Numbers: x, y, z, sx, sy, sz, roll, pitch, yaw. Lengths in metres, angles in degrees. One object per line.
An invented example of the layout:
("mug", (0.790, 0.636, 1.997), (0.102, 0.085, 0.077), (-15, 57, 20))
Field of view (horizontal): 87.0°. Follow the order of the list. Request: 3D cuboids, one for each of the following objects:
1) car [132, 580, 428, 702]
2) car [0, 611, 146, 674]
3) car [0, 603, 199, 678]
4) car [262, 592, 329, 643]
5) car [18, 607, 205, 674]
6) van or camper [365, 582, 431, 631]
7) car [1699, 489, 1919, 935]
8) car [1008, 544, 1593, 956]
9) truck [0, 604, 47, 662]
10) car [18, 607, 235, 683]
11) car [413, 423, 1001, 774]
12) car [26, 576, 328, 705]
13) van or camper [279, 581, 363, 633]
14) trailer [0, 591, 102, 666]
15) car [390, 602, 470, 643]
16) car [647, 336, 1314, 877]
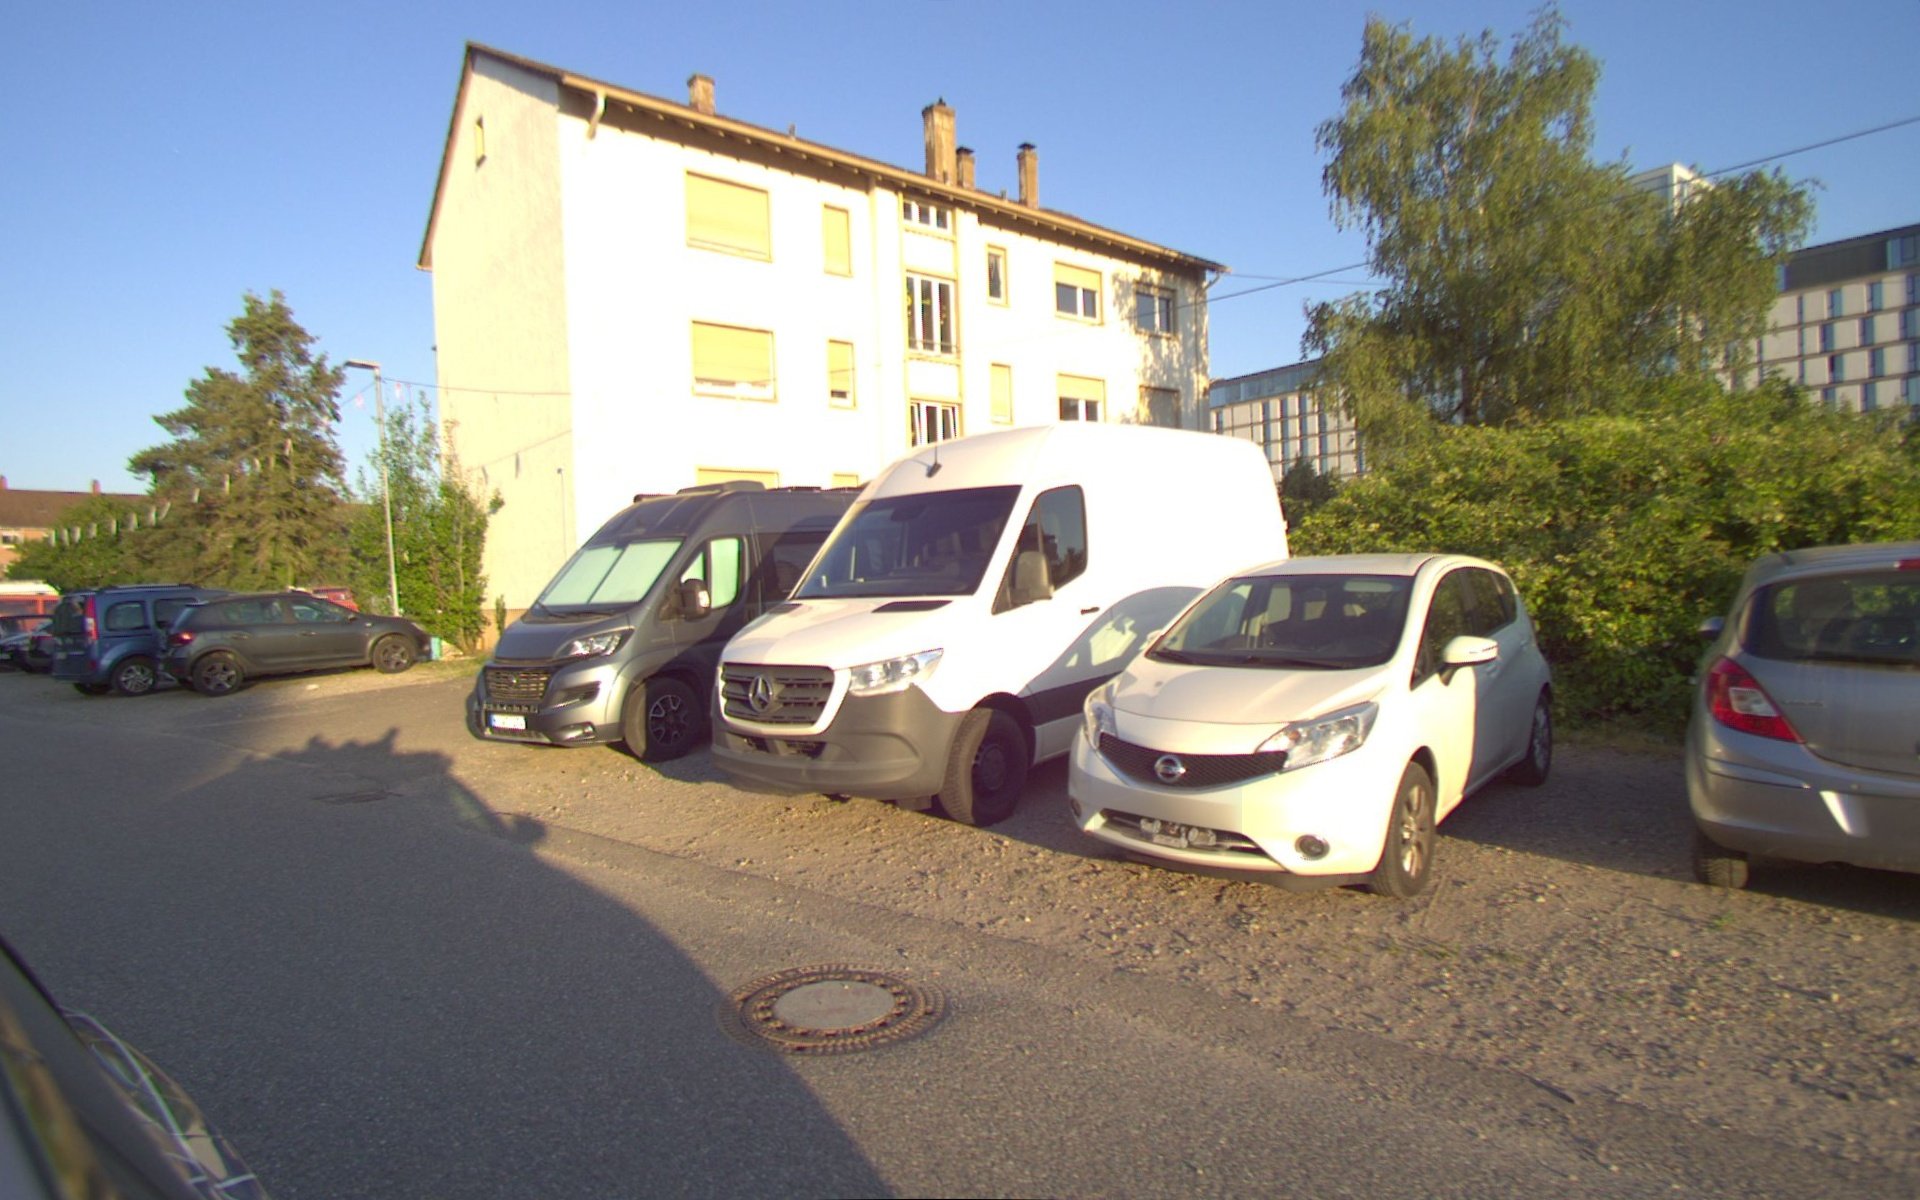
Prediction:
("car", (-11.636, 0.615, 17.506), (1.748, 1.664, 3.883), (-2, 3, 44))
("car", (-26.833, 1.241, 29.991), (1.850, 1.632, 3.991), (-1, 1, 45))
("car", (-22.340, 1.013, 26.030), (1.818, 1.640, 4.051), (-5, -1, 38))
("car", (-31.870, 0.862, 48.461), (1.822, 2.165, 4.826), (-3, -1, -43))
("car", (-24.121, 1.122, 28.865), (1.810, 1.532, 3.882), (-3, 1, 45))
("van or camper", (-33.535, 0.372, 60.272), (2.176, 2.728, 5.755), (-3, 1, -41))
("car", (4.872, 0.320, 4.928), (1.747, 1.602, 3.885), (0, 3, 41))
("car", (2.205, 0.485, 5.795), (1.789, 1.518, 3.885), (-1, 2, 41))
("truck", (-36.913, 1.301, 36.205), (2.353, 2.058, 5.954), (-2, 1, 38))
("car", (-20.155, 1.018, 24.576), (1.644, 1.528, 3.881), (0, 2, 45))
("car", (-2.174, -0.207, 11.081), (2.108, 2.732, 6.335), (0, 4, 35))
("car", (-14.046, 0.641, 18.412), (1.740, 1.925, 3.902), (-3, 2, 28))
("van or camper", (-36.818, 0.408, 58.253), (5.792, 2.791, 2.234), (-1, 1, 38))
("trailer", (-33.639, 1.036, 35.752), (2.134, 2.450, 4.742), (0, 3, 42))
("car", (-23.676, 0.986, 45.147), (3.937, 1.681, 1.824), (-1, 1, 42))
("car", (0.701, -0.125, 8.001), (2.048, 2.733, 5.770), (-2, 3, 39))
